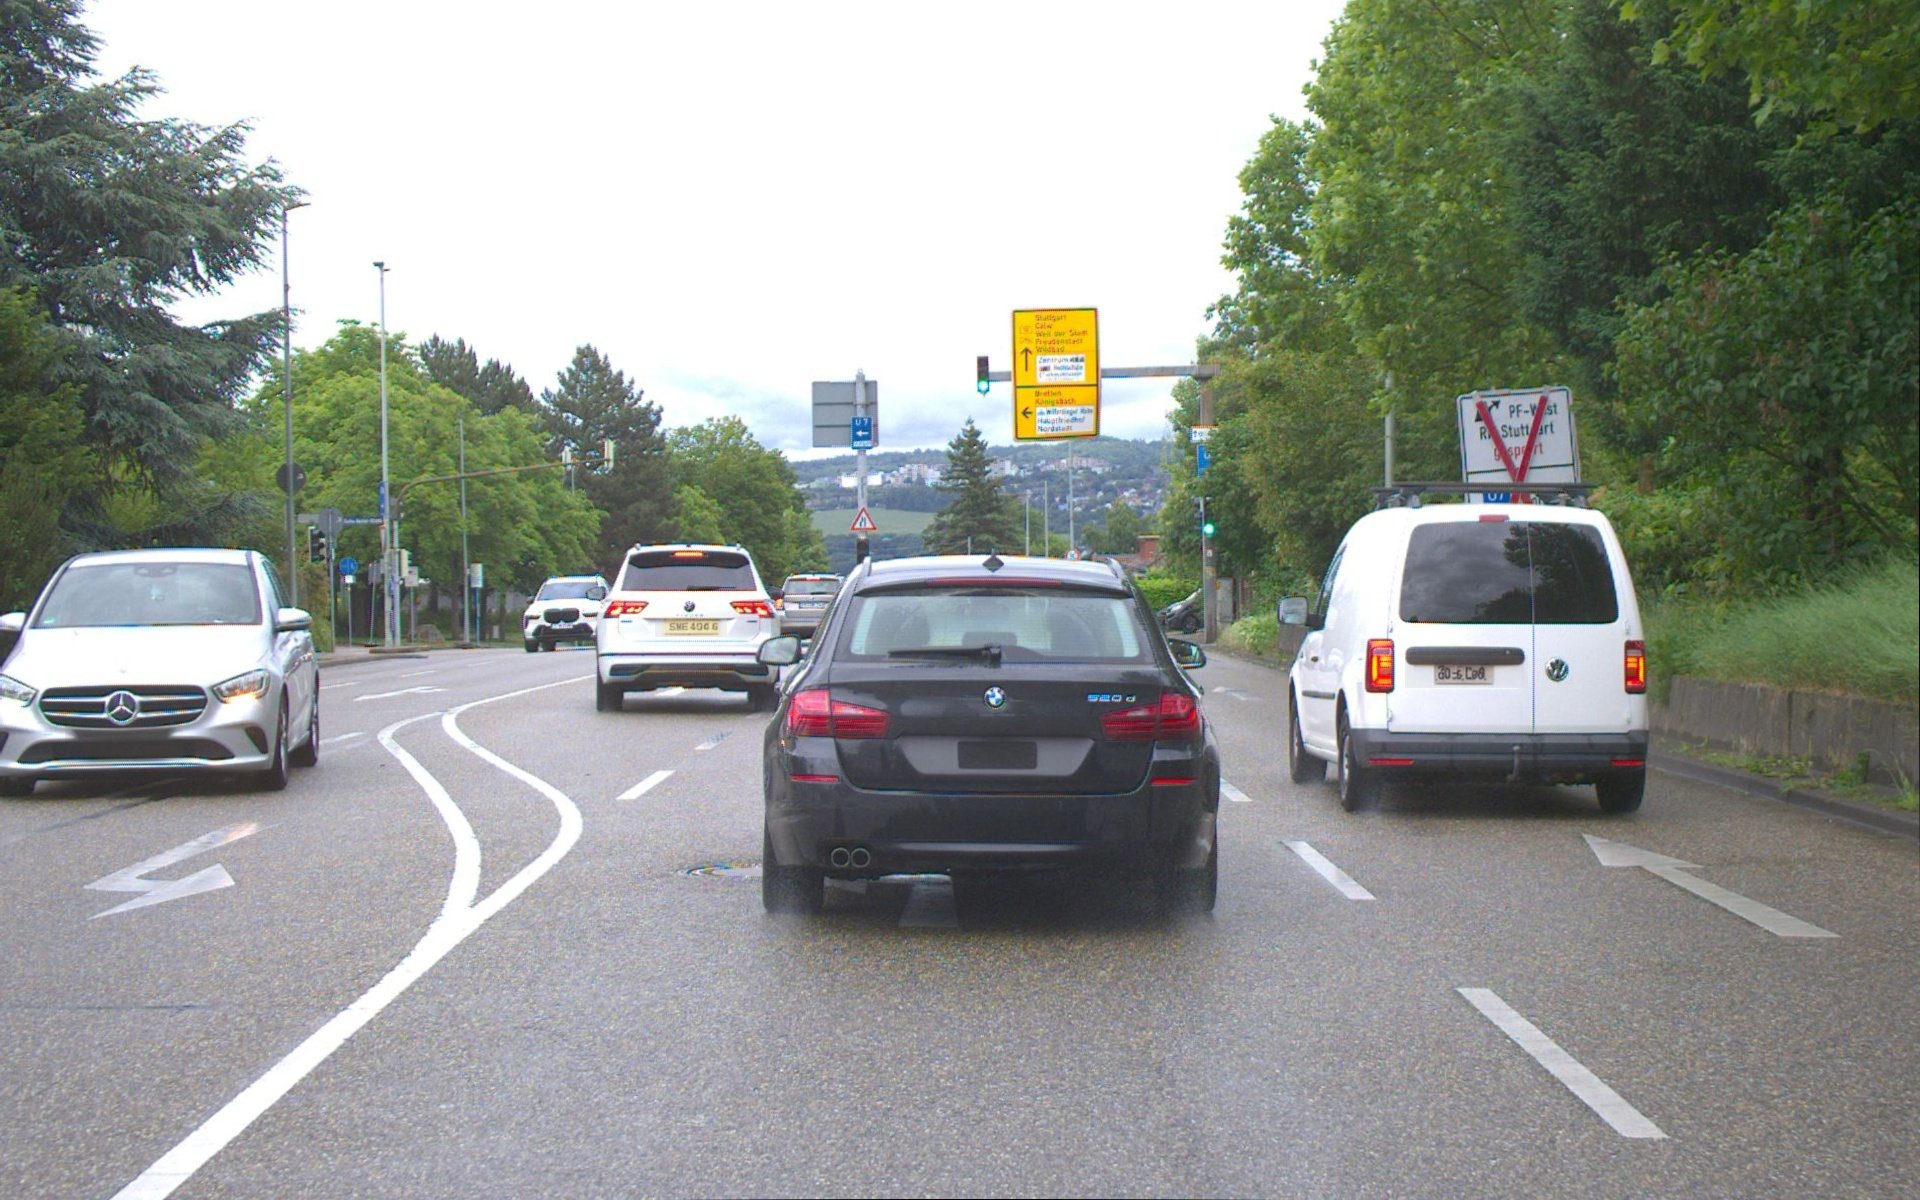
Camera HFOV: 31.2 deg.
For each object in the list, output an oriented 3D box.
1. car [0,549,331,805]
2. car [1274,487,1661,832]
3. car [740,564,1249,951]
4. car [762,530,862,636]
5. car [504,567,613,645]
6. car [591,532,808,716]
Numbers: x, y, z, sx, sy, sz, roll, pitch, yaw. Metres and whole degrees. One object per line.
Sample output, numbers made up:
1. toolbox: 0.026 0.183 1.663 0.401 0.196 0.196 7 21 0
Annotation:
1. car: -5.224 0.443 22.701 1.749 1.503 4.303 -1 1 -6
2. car: 3.001 0.270 21.071 1.764 1.871 3.806 0 3 0
3. car: 0.153 0.579 14.875 1.899 1.437 4.000 0 0 1
4. car: -3.001 -0.366 70.244 1.810 2.081 3.850 1 1 1
5. car: -9.822 0.127 84.417 1.917 1.757 5.143 -3 0 1
6. car: -2.600 0.189 35.141 1.868 1.668 4.001 0 3 1
